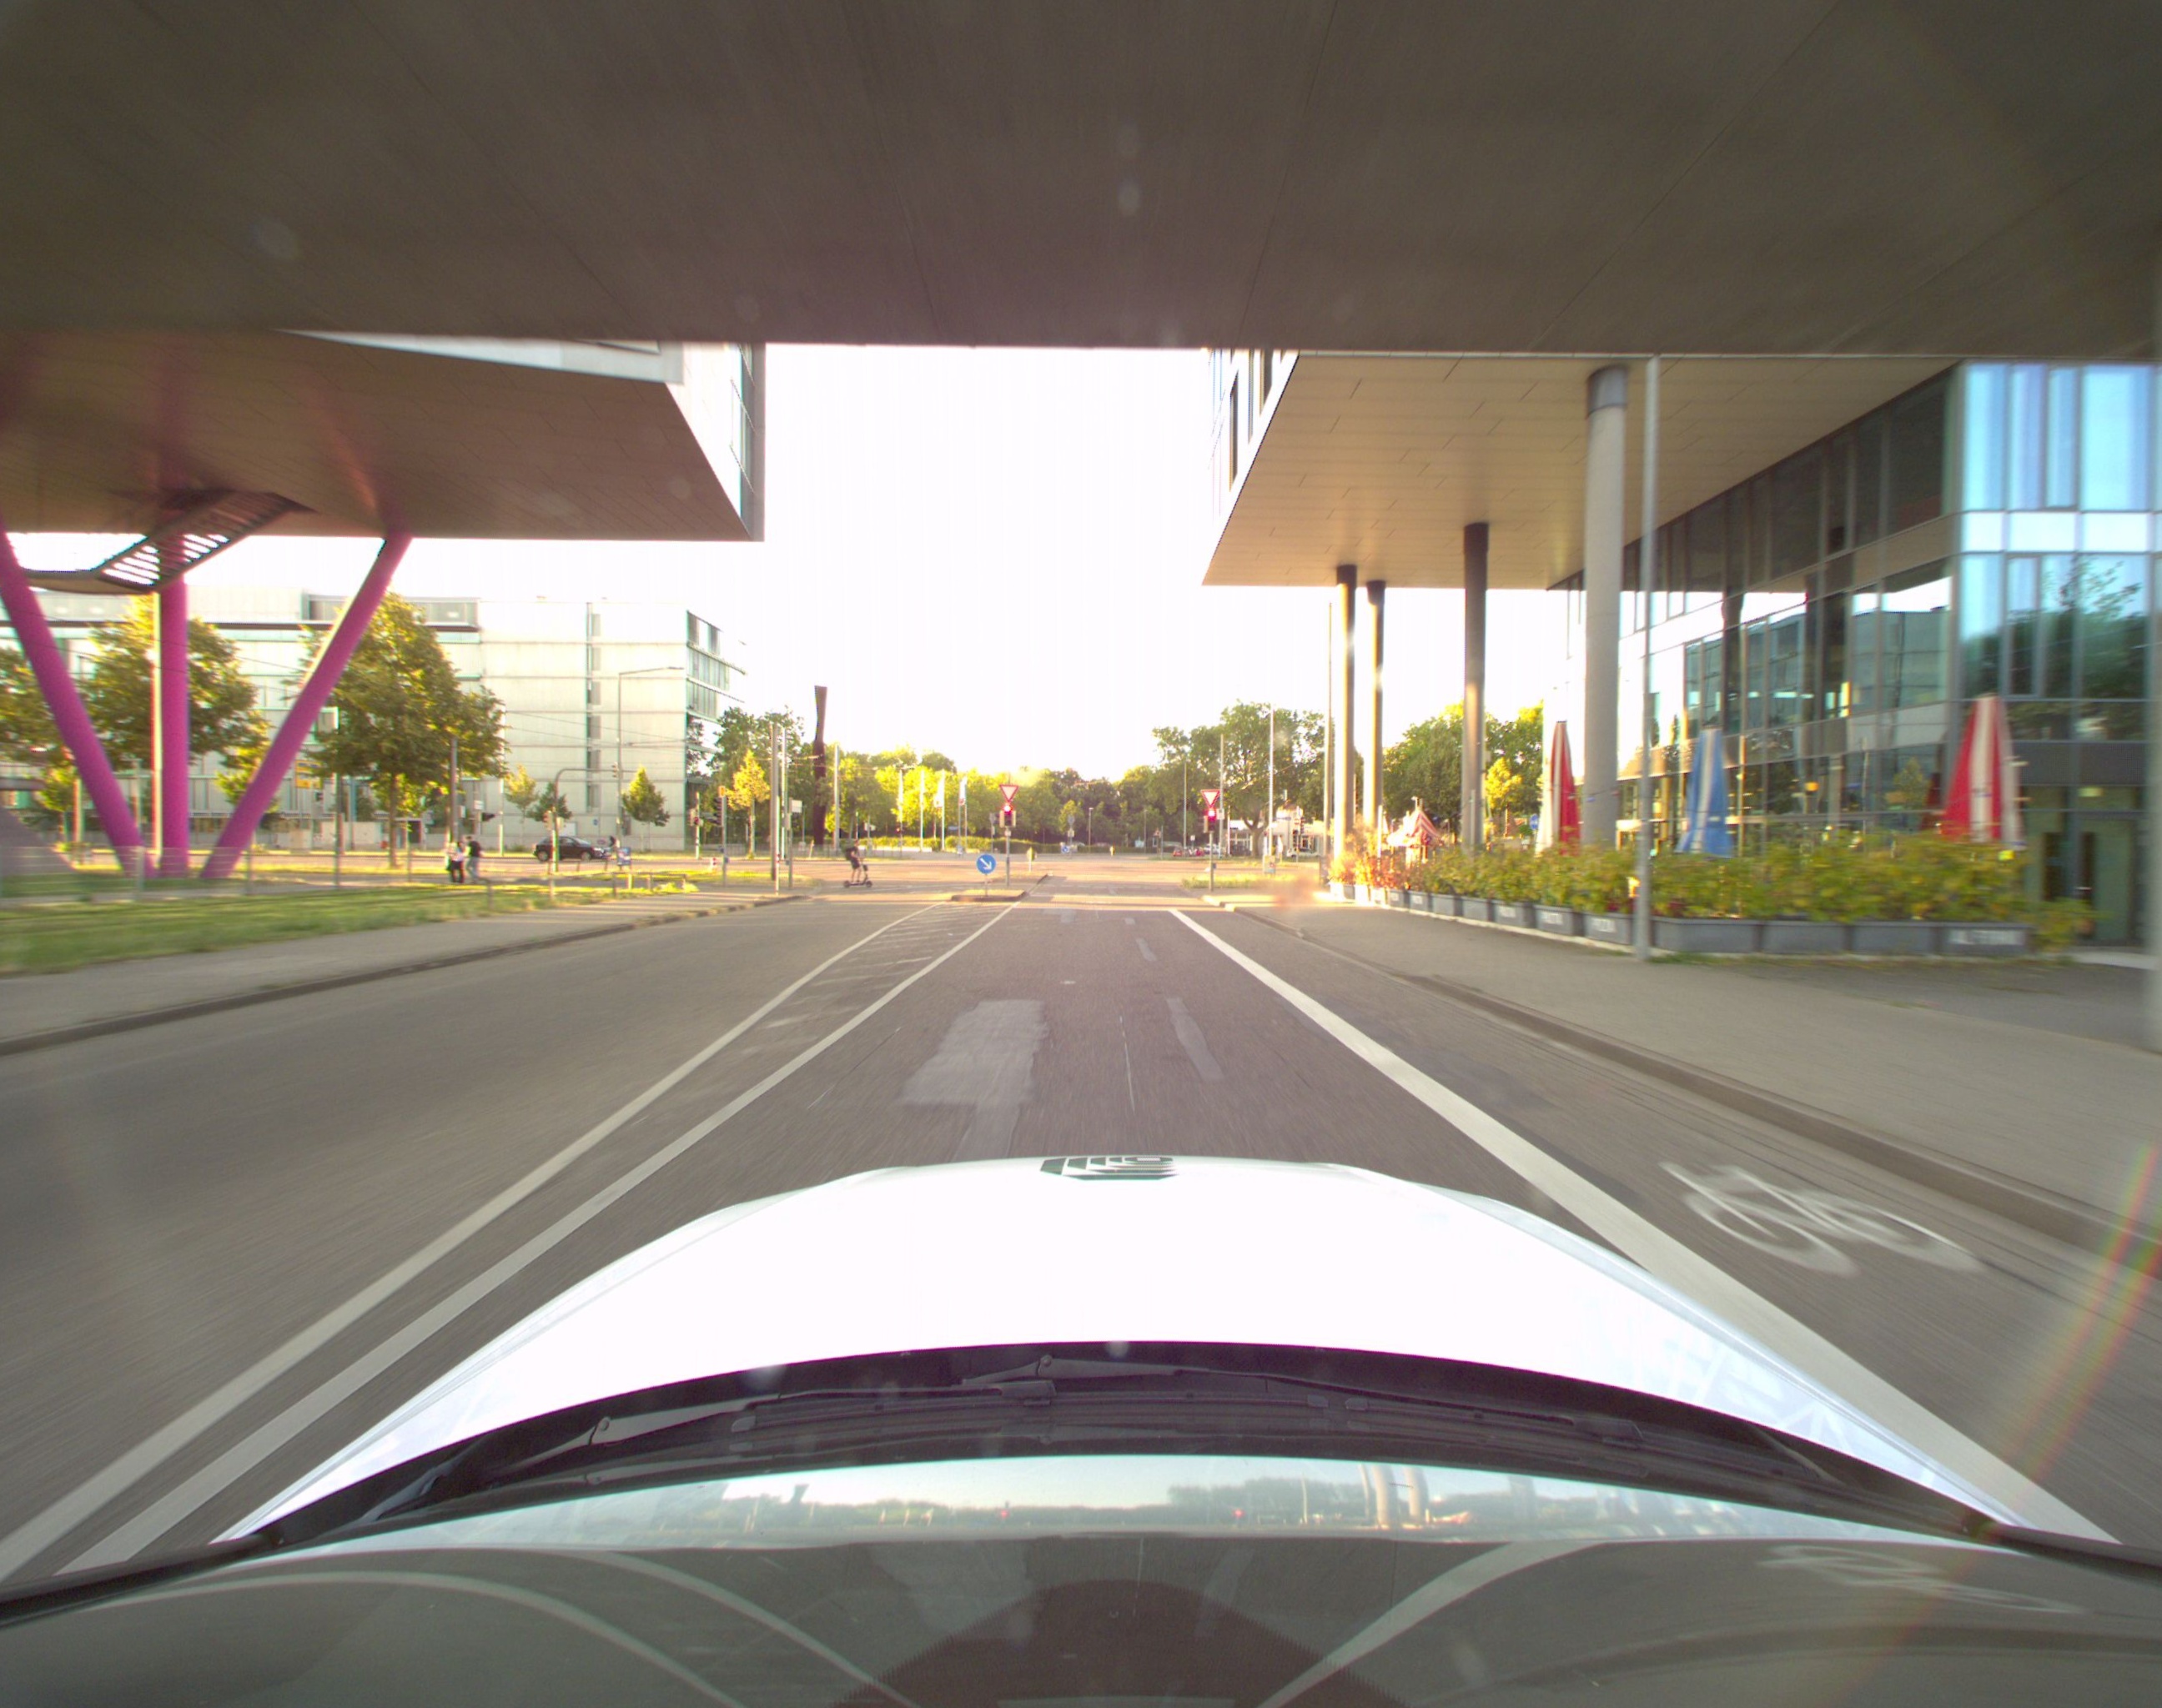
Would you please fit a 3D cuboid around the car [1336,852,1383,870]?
[{"bbox_3d":[30.065,0.714,87.998,4.448,1.816,1.947,0,2,3],"label":"car"}]

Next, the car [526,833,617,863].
[{"bbox_3d":[-31.949,-0.400,51.136,4.453,1.816,1.945,0,2,0],"label":"car"}]

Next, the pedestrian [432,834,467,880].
[{"bbox_3d":[-22.791,0.084,29.388,0.680,1.624,0.715,1,2,19],"label":"pedestrian"}]

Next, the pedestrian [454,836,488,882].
[{"bbox_3d":[-22.549,0.190,30.093,0.694,1.663,0.715,1,2,19],"label":"pedestrian"}]

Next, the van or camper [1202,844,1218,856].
[{"bbox_3d":[23.382,-0.760,147.451,1.609,1.981,3.831,1,2,31],"label":"van or camper"}]

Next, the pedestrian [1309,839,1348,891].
[{"bbox_3d":[9.007,0.394,29.615,1.054,1.833,0.892,0,2,-12],"label":"pedestrian"}]

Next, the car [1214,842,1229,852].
[{"bbox_3d":[22.734,-1.183,131.421,1.483,1.477,3.103,1,2,28],"label":"car"}]

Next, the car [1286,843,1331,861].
[{"bbox_3d":[24.735,-0.251,88.649,4.448,1.816,1.947,0,2,3],"label":"car"}]

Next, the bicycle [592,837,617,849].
[{"bbox_3d":[-45.521,-1.090,77.762,1.971,1.128,0.556,-1,2,-24],"label":"bicycle"}]

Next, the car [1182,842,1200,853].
[{"bbox_3d":[15.751,-0.943,116.159,1.483,1.606,3.424,1,2,28],"label":"car"}]

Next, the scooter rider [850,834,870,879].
[{"bbox_3d":[-8.751,0.084,32.264,0.704,1.782,0.442,0,2,-3],"label":"scooter rider"}]

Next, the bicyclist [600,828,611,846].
[{"bbox_3d":[-45.418,-1.635,77.797,0.760,1.722,0.548,0,2,-24],"label":"bicyclist"}]

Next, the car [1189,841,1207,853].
[{"bbox_3d":[17.249,-1.054,119.958,1.483,1.606,3.424,1,2,28],"label":"car"}]

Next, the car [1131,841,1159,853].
[{"bbox_3d":[11.021,-1.200,139.542,4.658,1.868,2.018,1,2,8],"label":"car"}]

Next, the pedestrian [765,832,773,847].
[{"bbox_3d":[-42.576,-1.971,111.012,0.690,2.013,0.702,1,2,21],"label":"pedestrian"}]

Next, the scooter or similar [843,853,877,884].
[{"bbox_3d":[-8.764,0.590,32.272,1.210,1.200,0.503,0,2,-3],"label":"scooter or similar"}]

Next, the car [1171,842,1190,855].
[{"bbox_3d":[13.772,-0.778,112.409,1.483,1.760,3.424,1,2,28],"label":"car"}]

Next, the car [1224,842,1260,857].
[{"bbox_3d":[20.904,-0.554,105.702,4.443,1.816,1.949,0,2,7],"label":"car"}]
